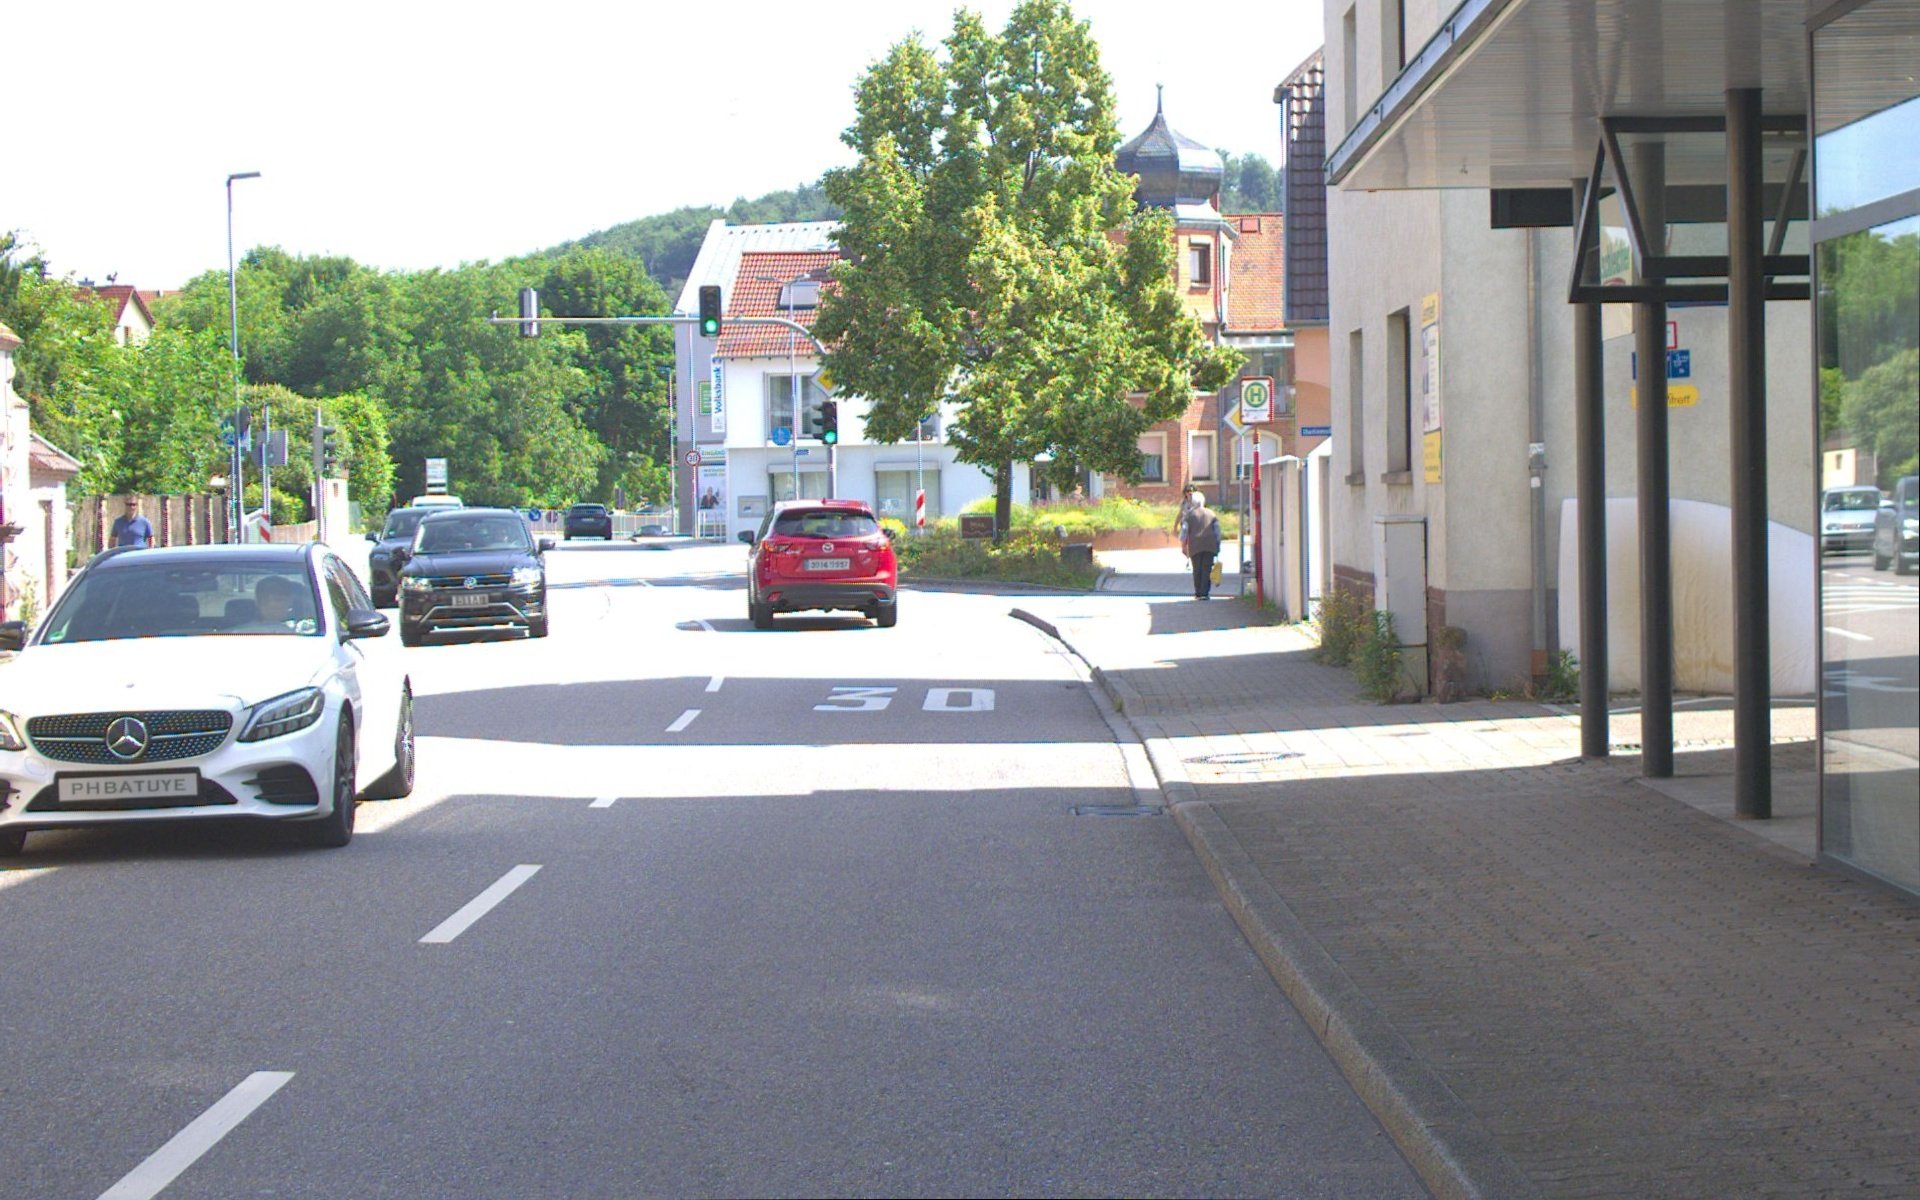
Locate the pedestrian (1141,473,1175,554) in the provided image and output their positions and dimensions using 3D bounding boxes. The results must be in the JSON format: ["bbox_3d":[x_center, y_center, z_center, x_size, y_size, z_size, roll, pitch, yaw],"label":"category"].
[{"bbox_3d":[4.701,-2.044,81.666,0.642,1.872,0.652,-2,-1,-7],"label":"pedestrian"}]

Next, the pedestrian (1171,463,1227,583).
[{"bbox_3d":[3.486,-1.117,50.212,0.642,1.701,0.700,-2,-1,-7],"label":"pedestrian"}]

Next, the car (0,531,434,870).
[{"bbox_3d":[-3.945,0.419,17.665,1.987,1.439,5.102,-2,1,-4],"label":"car"}]

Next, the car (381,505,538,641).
[{"bbox_3d":[-6.438,-0.387,44.112,1.839,1.527,4.254,-2,3,-9],"label":"car"}]

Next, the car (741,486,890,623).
[{"bbox_3d":[-1.904,-0.614,45.546,1.859,1.709,4.422,0,1,-2],"label":"car"}]

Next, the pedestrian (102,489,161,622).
[{"bbox_3d":[-11.598,-0.620,48.147,0.665,1.818,0.799,-2,-1,-7],"label":"pedestrian"}]

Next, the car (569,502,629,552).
[{"bbox_3d":[-14.358,-2.880,136.821,1.932,1.788,3.956,-2,-1,0],"label":"car"}]

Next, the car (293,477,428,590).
[{"bbox_3d":[-10.354,-1.121,59.580,1.774,1.778,3.839,-2,-1,-3],"label":"car"}]
